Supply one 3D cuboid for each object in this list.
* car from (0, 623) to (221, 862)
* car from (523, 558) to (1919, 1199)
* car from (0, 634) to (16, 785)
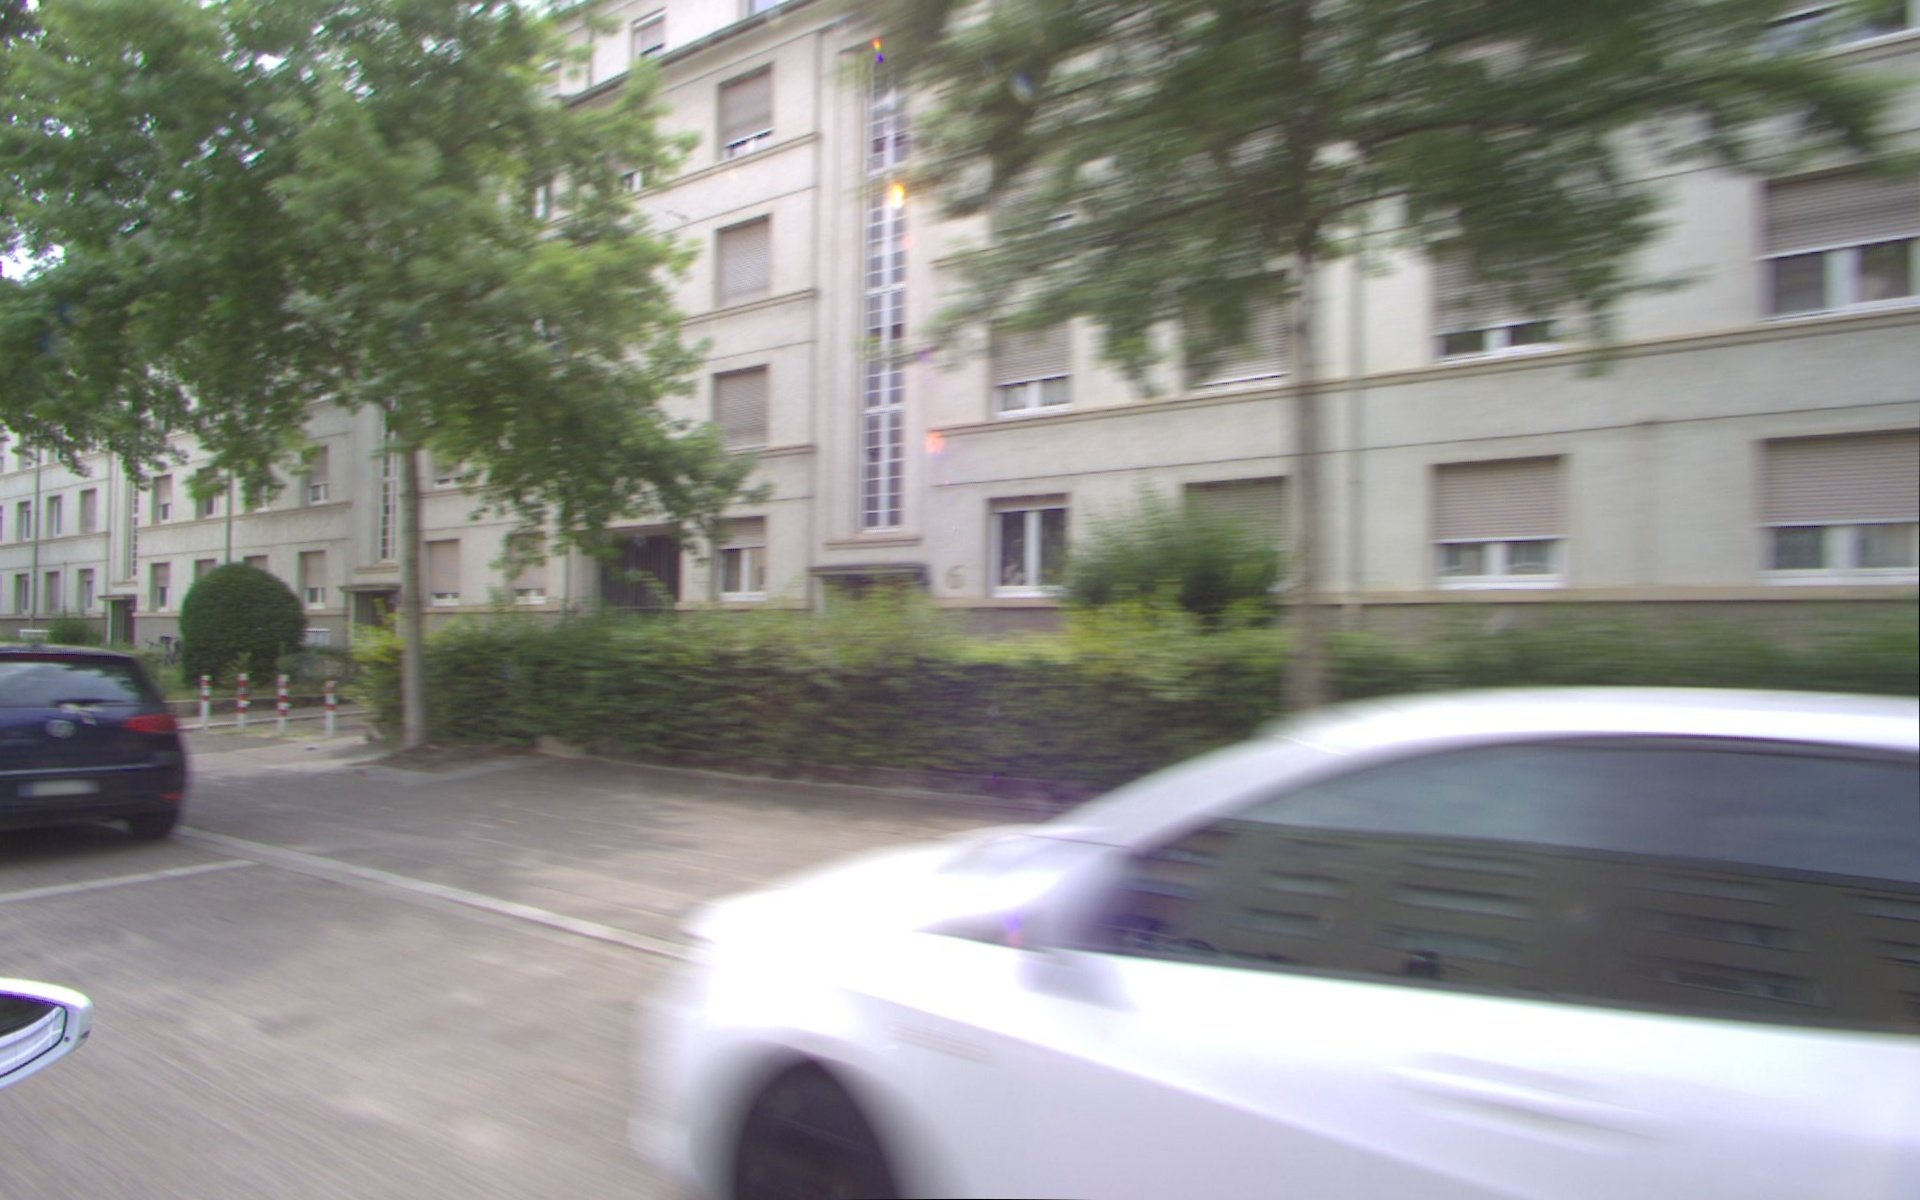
[{"bbox_3d":[-7.523,0.941,7.629,4.043,1.487,1.695,-1,-4,33],"label":"car"},{"bbox_3d":[1.116,0.737,2.131,4.041,1.468,1.696,-1,-3,31],"label":"car"},{"bbox_3d":[-11.779,1.065,10.488,4.495,1.487,1.695,-1,-4,33],"label":"car"}]
